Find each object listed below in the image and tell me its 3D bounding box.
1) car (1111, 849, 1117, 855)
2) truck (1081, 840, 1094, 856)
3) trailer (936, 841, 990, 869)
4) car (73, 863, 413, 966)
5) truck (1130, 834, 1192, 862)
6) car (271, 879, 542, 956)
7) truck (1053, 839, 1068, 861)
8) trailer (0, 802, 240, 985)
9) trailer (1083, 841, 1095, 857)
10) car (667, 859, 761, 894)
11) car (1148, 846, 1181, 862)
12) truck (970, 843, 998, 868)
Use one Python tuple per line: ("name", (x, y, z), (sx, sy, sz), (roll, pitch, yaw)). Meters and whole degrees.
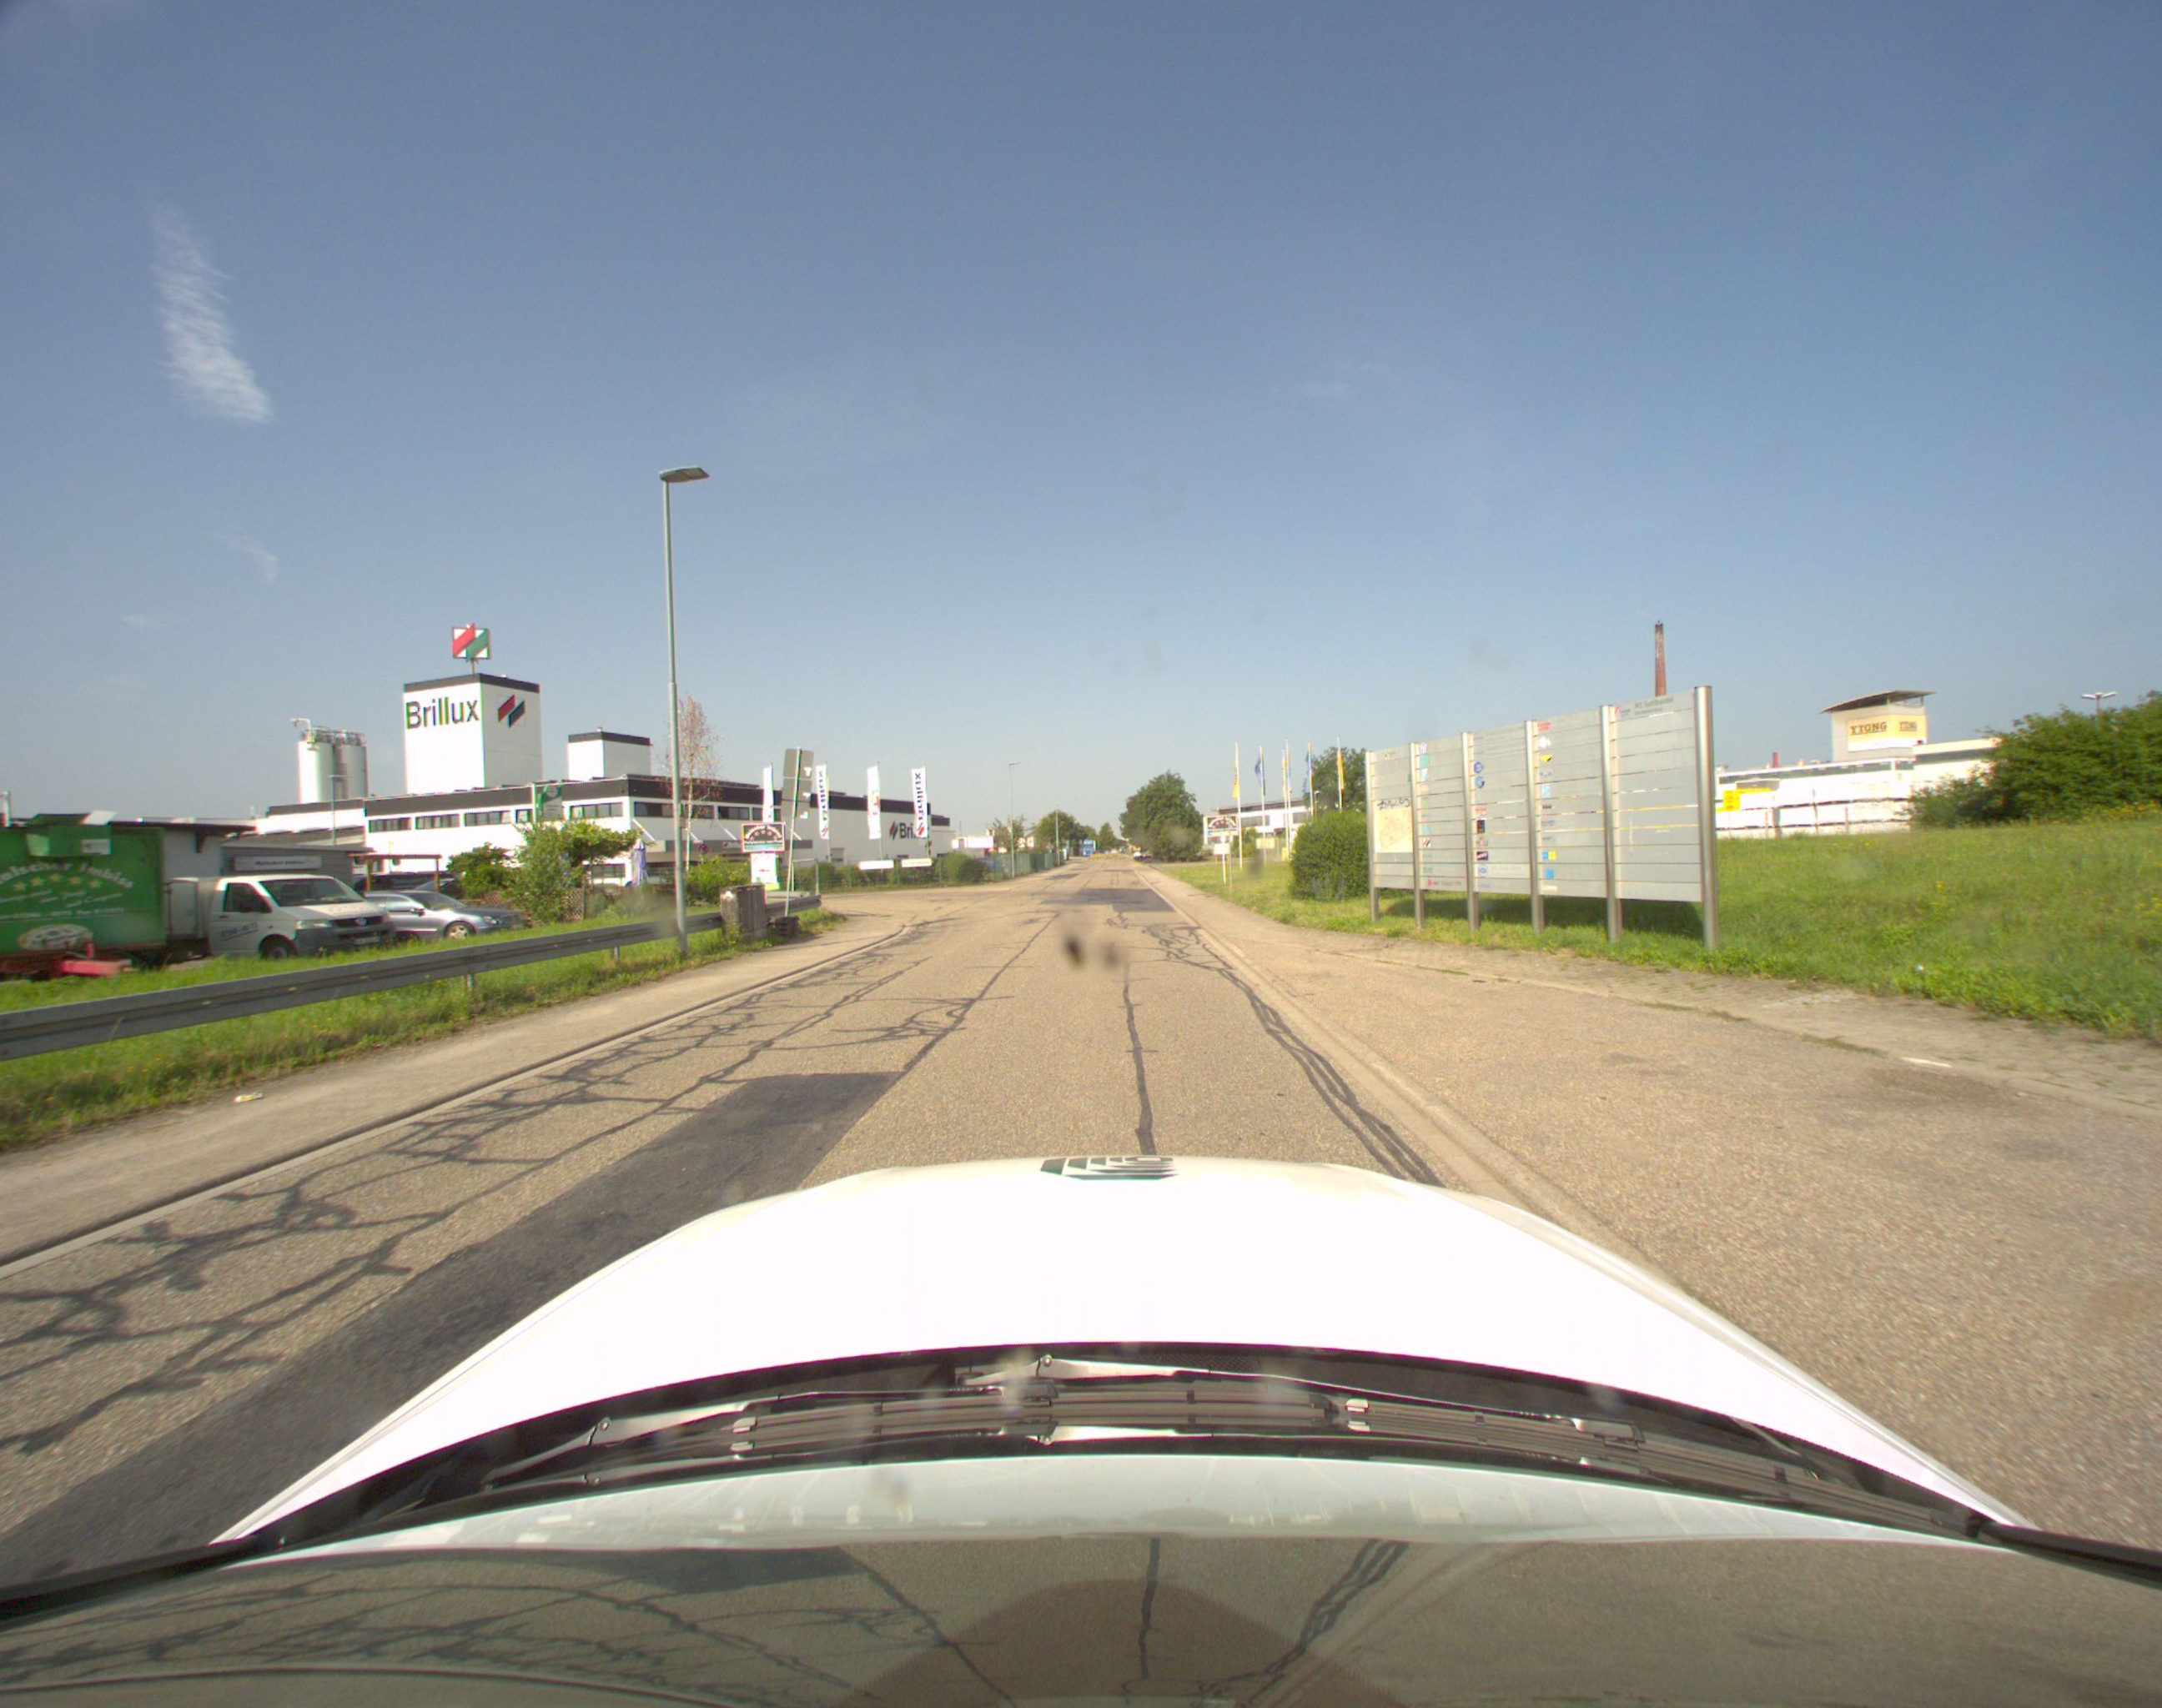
("car", (9.619, -0.465, 236.842), (1.712, 1.661, 3.823), (0, -1, 0))
("truck", (1.694, -1.393, 196.360), (2.814, 3.826, 9.676), (0, -1, 2))
("trailer", (-18.363, 0.231, 127.934), (2.462, 4.041, 13.952), (-1, -1, 18))
("car", (-17.222, 1.203, 16.881), (5.235, 1.706, 2.004), (-3, 0, 6))
("truck", (10.995, -0.840, 111.915), (8.179, 3.370, 2.741), (-3, -1, 1))
("car", (-16.608, 1.522, 20.316), (4.820, 1.510, 1.957), (-3, 0, -8))
("truck", (-3.825, -0.687, 152.291), (2.699, 3.922, 4.298), (0, -1, 1))
("trailer", (-18.136, 0.731, 13.649), (6.259, 2.604, 2.866), (-4, 0, 16))
("trailer", (2.087, -1.267, 206.435), (2.820, 3.843, 12.041), (0, -1, 2))
("car", (-20.515, 1.258, 45.538), (4.608, 1.752, 2.164), (-3, 0, 23))
("car", (10.390, 0.026, 101.278), (3.970, 1.838, 2.002), (-3, 0, 3))
("truck", (-16.090, 0.214, 135.071), (2.493, 4.071, 5.568), (0, -1, 17))
